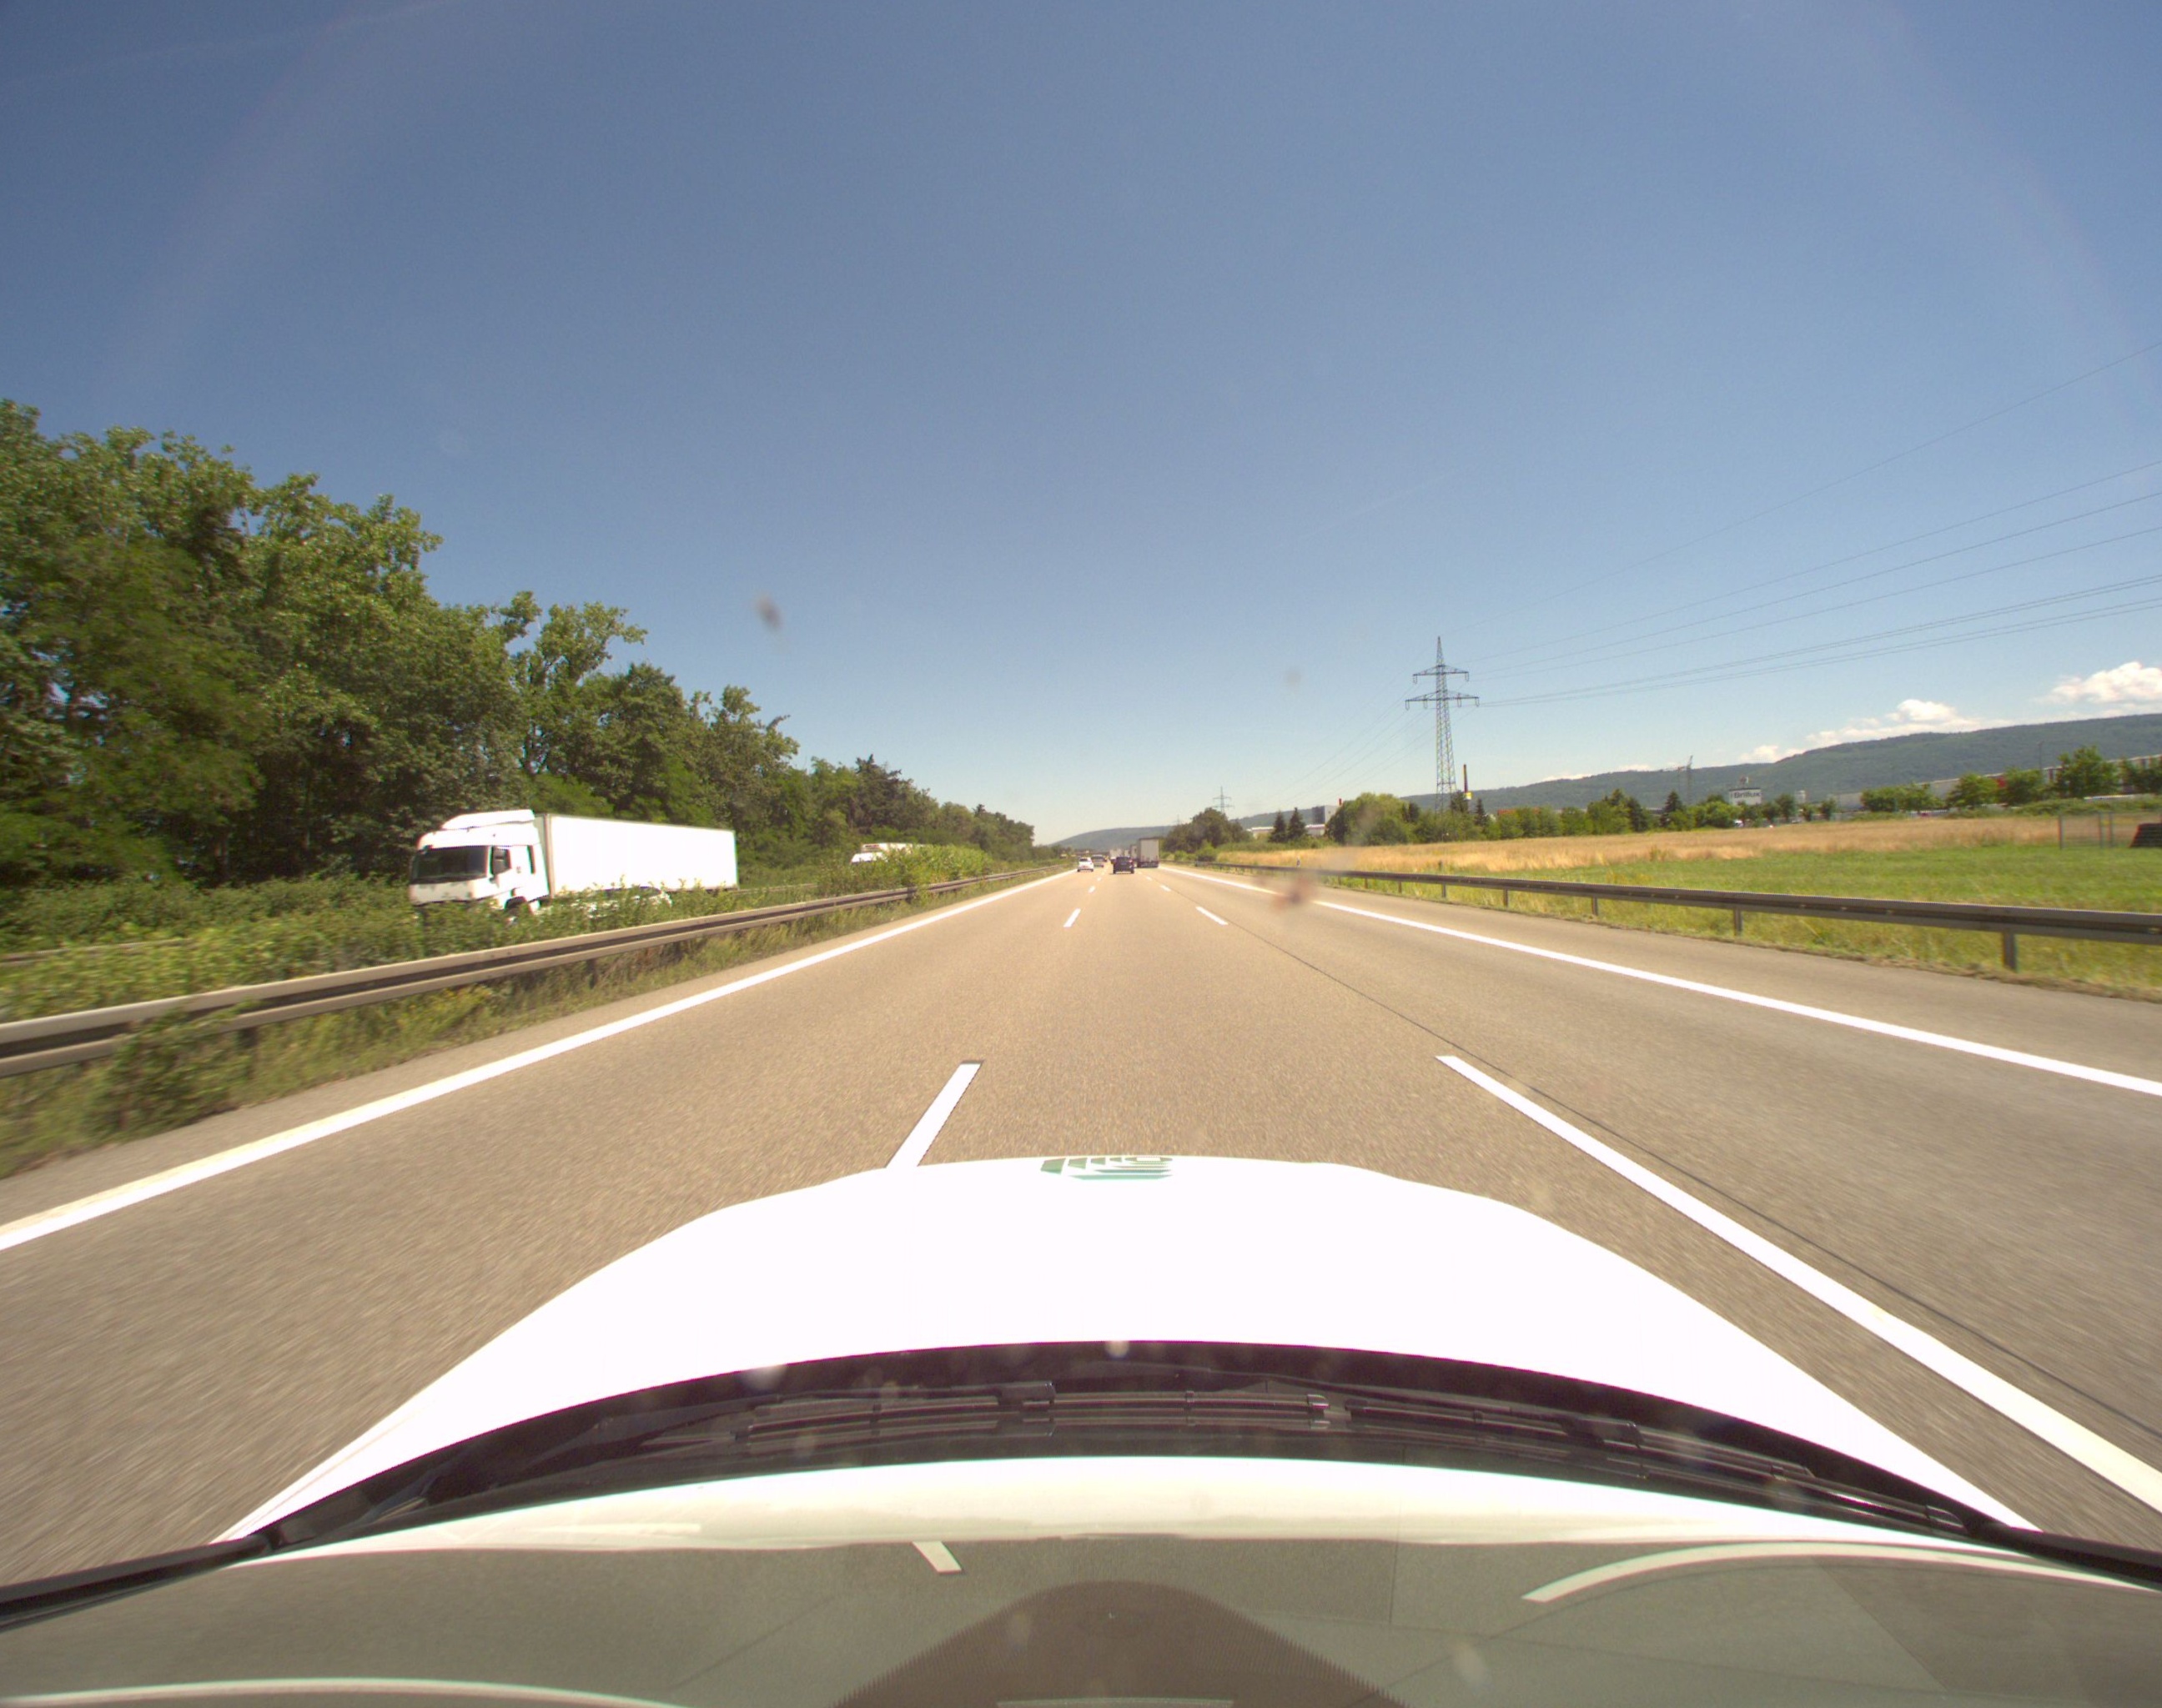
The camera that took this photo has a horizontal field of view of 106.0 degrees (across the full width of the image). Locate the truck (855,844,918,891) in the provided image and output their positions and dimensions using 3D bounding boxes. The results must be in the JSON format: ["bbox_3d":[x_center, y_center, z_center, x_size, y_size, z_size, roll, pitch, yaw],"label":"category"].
[{"bbox_3d":[-17.060,1.150,72.306,2.915,3.828,9.279,-2,-1,2],"label":"truck"}]

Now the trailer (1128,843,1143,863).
[{"bbox_3d":[11.658,-0.144,175.673,2.777,4.164,13.584,-3,-1,3],"label":"trailer"}]

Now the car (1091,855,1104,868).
[{"bbox_3d":[2.513,1.062,122.540,1.754,1.850,4.002,-3,0,2],"label":"car"}]

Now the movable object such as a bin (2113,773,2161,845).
[{"bbox_3d":[56.111,-2.221,39.715,7.533,3.463,2.884,0,-1,3],"label":"movable object such as a bin"}]

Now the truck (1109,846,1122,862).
[{"bbox_3d":[7.689,0.092,181.566,2.771,3.373,8.132,-1,-1,2],"label":"truck"}]

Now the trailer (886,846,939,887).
[{"bbox_3d":[-16.720,1.223,81.544,2.915,3.828,9.279,-2,-1,2],"label":"trailer"}]

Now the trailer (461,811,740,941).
[{"bbox_3d":[-18.718,0.764,33.800,2.527,4.090,14.251,-4,-1,2],"label":"trailer"}]

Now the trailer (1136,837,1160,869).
[{"bbox_3d":[9.253,-0.077,114.031,2.725,4.107,13.129,-1,-1,2],"label":"trailer"}]

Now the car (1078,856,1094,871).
[{"bbox_3d":[0.559,1.045,88.633,1.601,1.467,4.002,-3,0,2],"label":"car"}]

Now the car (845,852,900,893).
[{"bbox_3d":[-13.699,1.203,53.844,2.117,2.466,5.087,-2,-1,1],"label":"car"}]

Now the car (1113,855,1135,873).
[{"bbox_3d":[3.881,0.896,74.367,1.866,1.623,4.006,-1,0,2],"label":"car"}]

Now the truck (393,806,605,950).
[{"bbox_3d":[-18.970,0.733,27.084,2.475,4.090,5.863,-4,-1,2],"label":"truck"}]

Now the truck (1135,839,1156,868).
[{"bbox_3d":[9.552,-0.030,120.827,2.725,4.120,6.128,-1,-1,2],"label":"truck"}]

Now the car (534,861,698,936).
[{"bbox_3d":[-14.457,1.283,25.757,2.117,2.055,5.087,-2,-1,1],"label":"car"}]
